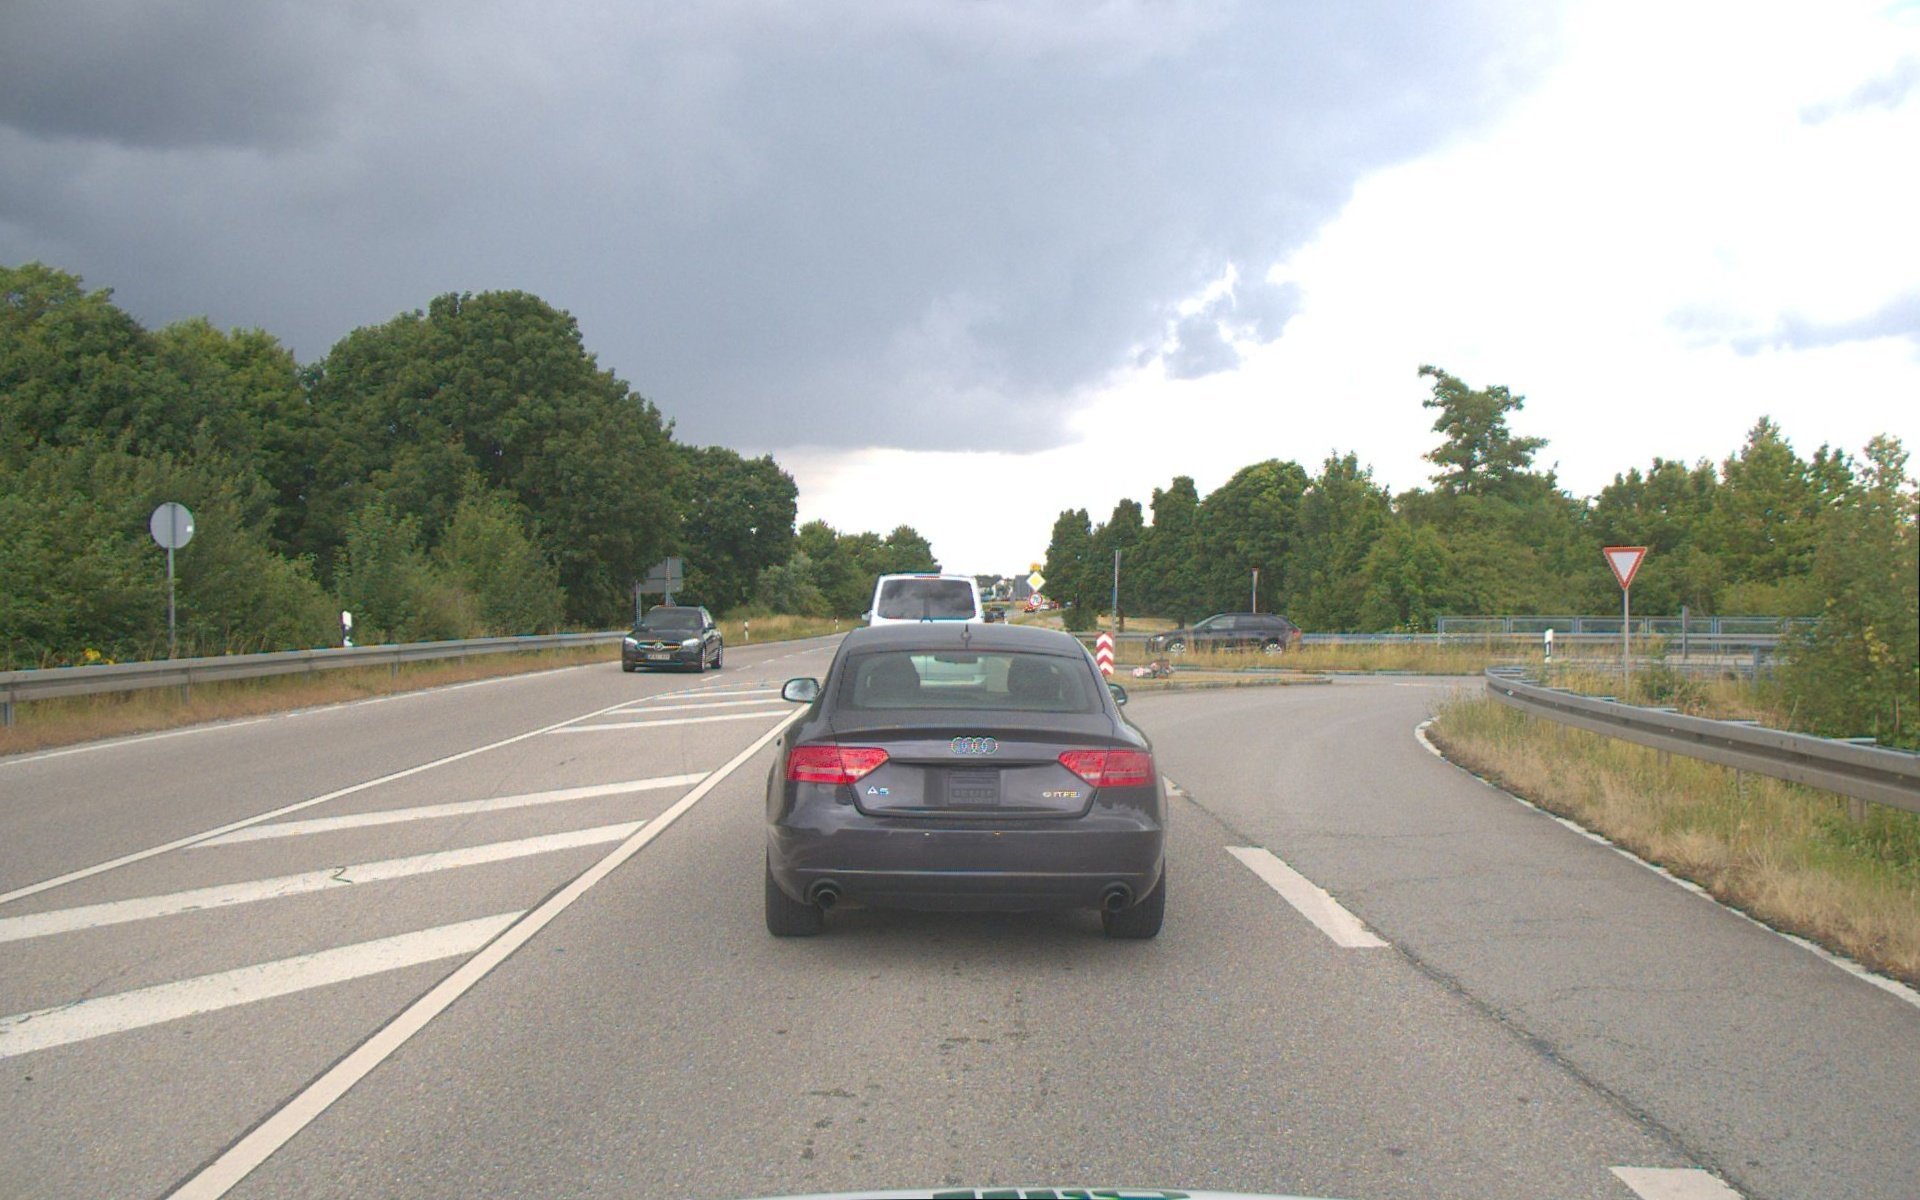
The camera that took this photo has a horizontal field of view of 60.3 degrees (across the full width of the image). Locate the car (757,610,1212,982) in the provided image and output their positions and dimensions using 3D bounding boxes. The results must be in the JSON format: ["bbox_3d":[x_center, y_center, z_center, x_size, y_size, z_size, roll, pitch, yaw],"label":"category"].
[{"bbox_3d":[0.069,0.774,8.420,1.746,1.401,3.999,1,0,-1],"label":"car"}]

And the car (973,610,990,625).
[{"bbox_3d":[2.157,1.789,167.368,1.683,1.477,4.000,1,0,0],"label":"car"}]

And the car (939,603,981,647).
[{"bbox_3d":[0.010,1.237,81.915,1.952,2.125,4.001,0,-1,2],"label":"car"}]

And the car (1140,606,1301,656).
[{"bbox_3d":[7.574,0.893,48.429,4.500,1.398,1.827,0,0,3],"label":"car"}]

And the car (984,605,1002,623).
[{"bbox_3d":[3.884,1.652,194.705,1.953,2.049,3.999,1,0,-1],"label":"car"}]

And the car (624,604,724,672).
[{"bbox_3d":[-6.486,0.822,37.874,1.637,1.454,4.256,0,0,-2],"label":"car"}]

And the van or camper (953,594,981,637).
[{"bbox_3d":[0.609,1.324,138.621,2.292,3.542,5.719,0,-1,1],"label":"van or camper"}]

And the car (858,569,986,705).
[{"bbox_3d":[-0.565,0.528,25.602,1.801,1.915,3.999,1,0,-1],"label":"car"}]

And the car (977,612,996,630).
[{"bbox_3d":[2.033,1.582,125.450,1.231,1.377,3.468,0,-1,5],"label":"car"}]
